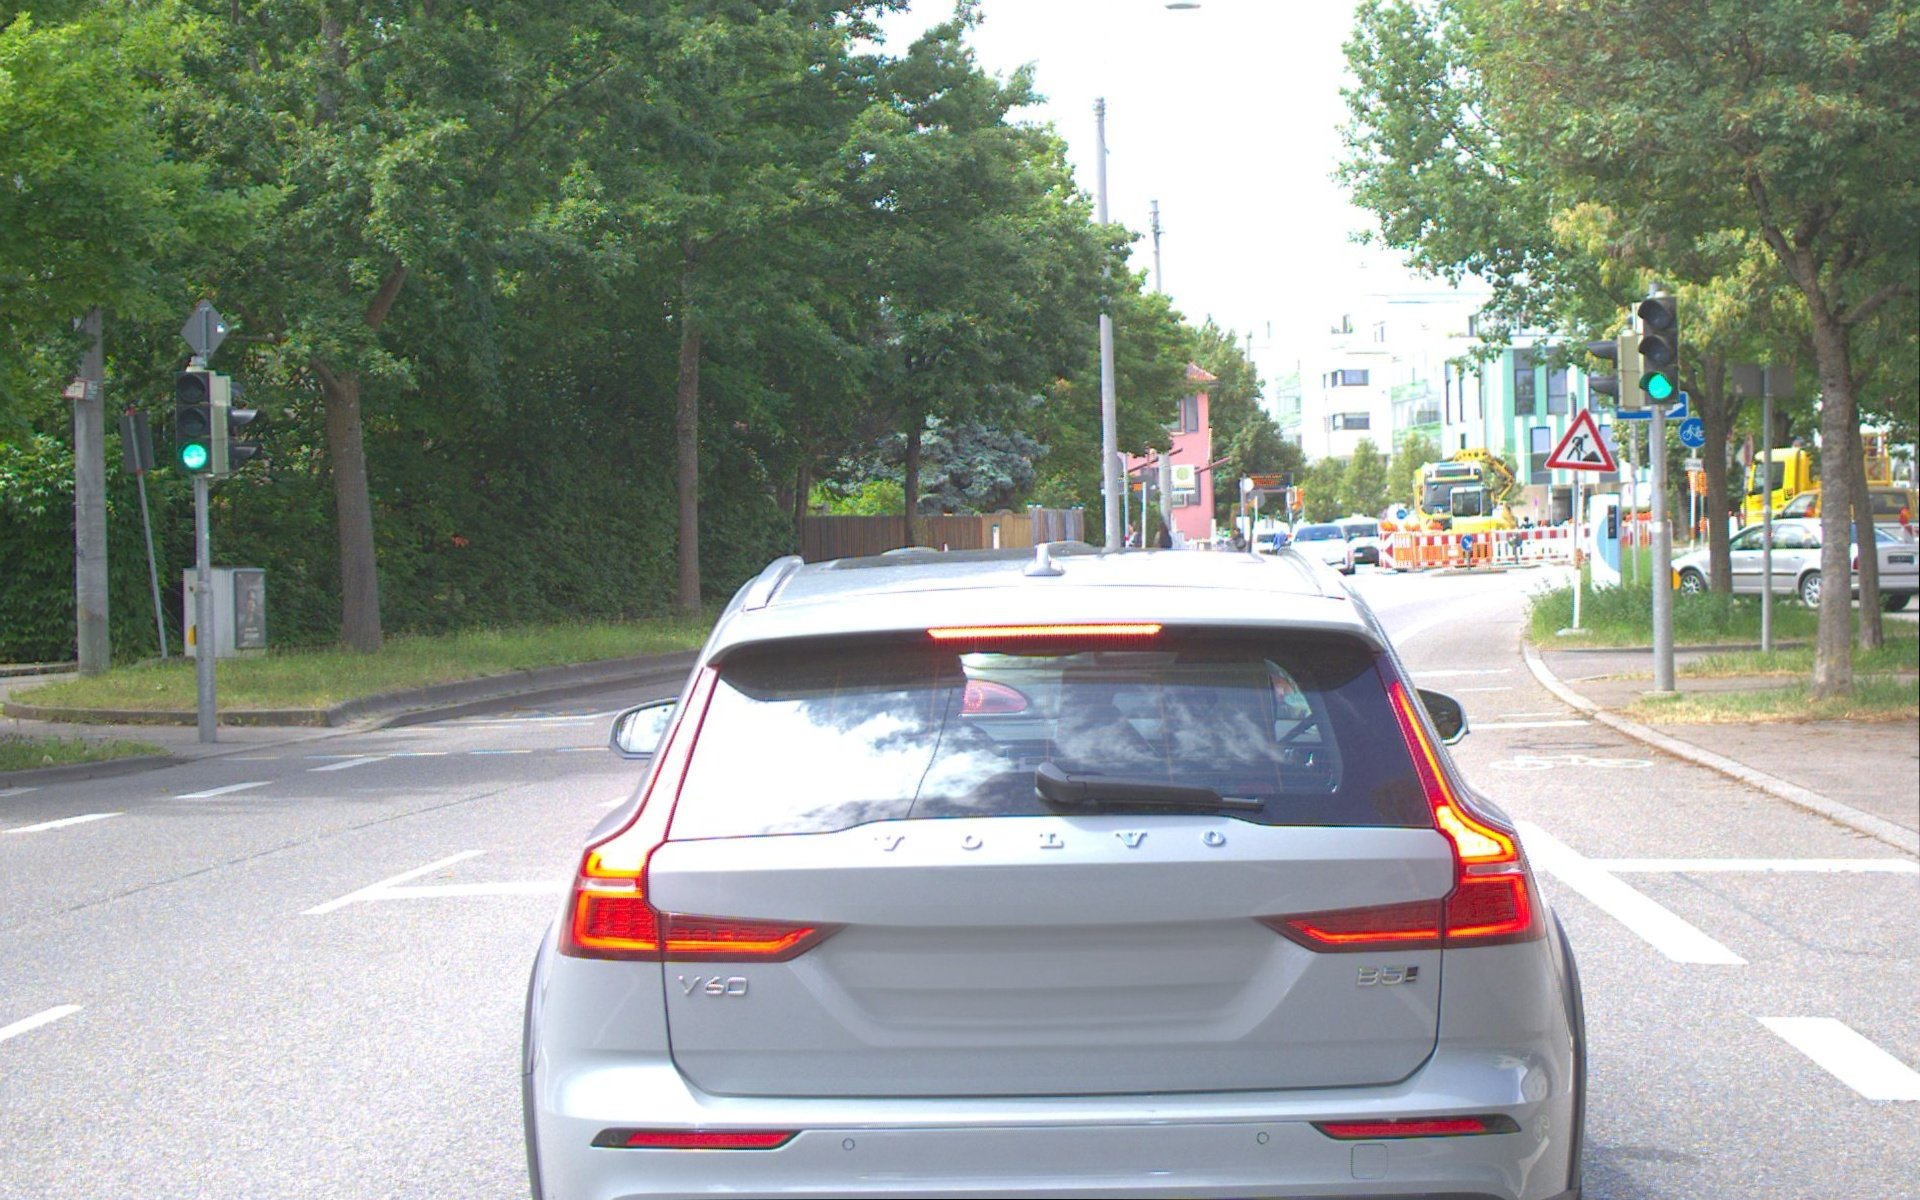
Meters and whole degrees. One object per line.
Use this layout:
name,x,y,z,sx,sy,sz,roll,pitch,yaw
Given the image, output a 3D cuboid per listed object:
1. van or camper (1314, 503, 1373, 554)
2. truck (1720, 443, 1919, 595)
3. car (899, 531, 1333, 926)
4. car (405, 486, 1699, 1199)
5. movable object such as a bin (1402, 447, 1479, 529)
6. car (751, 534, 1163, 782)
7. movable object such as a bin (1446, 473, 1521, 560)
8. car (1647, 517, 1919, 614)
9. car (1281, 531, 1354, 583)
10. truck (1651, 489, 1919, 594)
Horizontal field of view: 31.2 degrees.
van or camper,13.945,-2.610,124.770,1.861,1.770,4.379,-1,1,10
truck,19.085,-1.621,70.520,2.761,2.998,6.706,1,0,-34
car,0.684,0.492,15.324,1.661,1.503,3.702,1,0,2
car,0.202,0.584,7.165,1.928,1.535,4.000,-1,1,2
movable object such as a bin,18.475,-4.282,132.378,2.310,2.980,6.426,-2,1,3
car,0.086,0.351,23.507,2.103,1.505,3.998,1,0,10
movable object such as a bin,16.639,-2.651,109.125,2.035,2.634,5.937,-2,1,11
car,13.140,-0.574,54.229,1.762,1.447,4.689,-1,2,-32
car,10.198,-1.211,97.779,1.829,1.325,3.998,1,-1,9
truck,16.715,-1.161,68.887,1.994,2.007,5.676,1,0,-38
